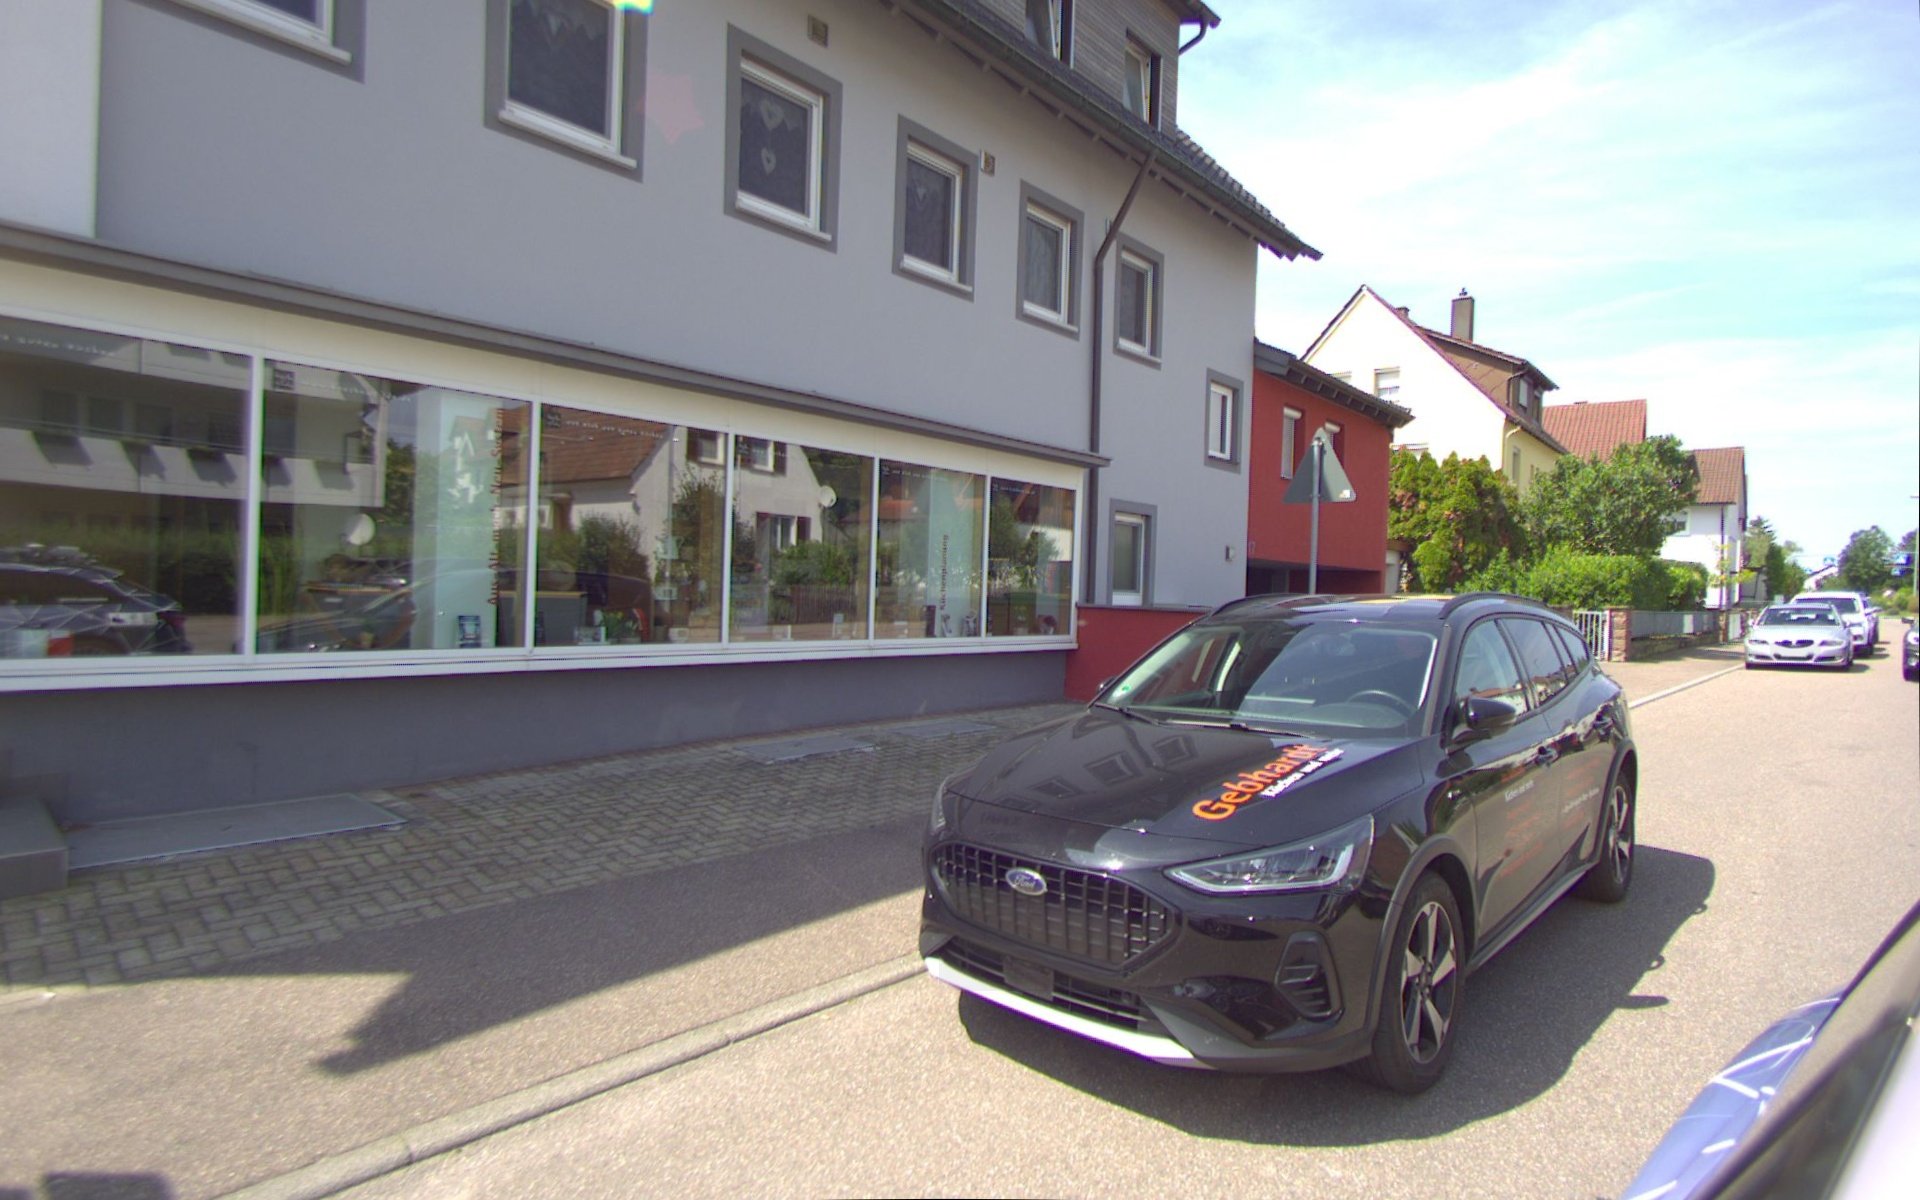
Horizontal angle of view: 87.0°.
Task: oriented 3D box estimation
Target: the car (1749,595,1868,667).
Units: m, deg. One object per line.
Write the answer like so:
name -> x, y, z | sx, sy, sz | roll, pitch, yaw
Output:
car -> 18.795, 0.615, 22.348 | 1.751, 1.439, 4.351 | -1, 0, 43

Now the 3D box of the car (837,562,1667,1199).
car -> 1.689, 0.677, 4.525 | 1.762, 1.546, 4.336 | 0, 0, 44

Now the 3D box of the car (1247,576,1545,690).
car -> 7.533, 0.634, 17.787 | 4.364, 1.690, 1.847 | -6, -4, 43

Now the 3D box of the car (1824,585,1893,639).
car -> 31.499, 0.382, 35.446 | 1.666, 1.771, 3.991 | 0, 0, 44

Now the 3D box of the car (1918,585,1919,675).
car -> 19.078, 0.561, 18.790 | 1.833, 1.668, 4.256 | 1, 1, 43

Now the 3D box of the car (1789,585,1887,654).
car -> 23.269, 0.465, 26.779 | 1.736, 1.683, 4.268 | 0, 0, 44
